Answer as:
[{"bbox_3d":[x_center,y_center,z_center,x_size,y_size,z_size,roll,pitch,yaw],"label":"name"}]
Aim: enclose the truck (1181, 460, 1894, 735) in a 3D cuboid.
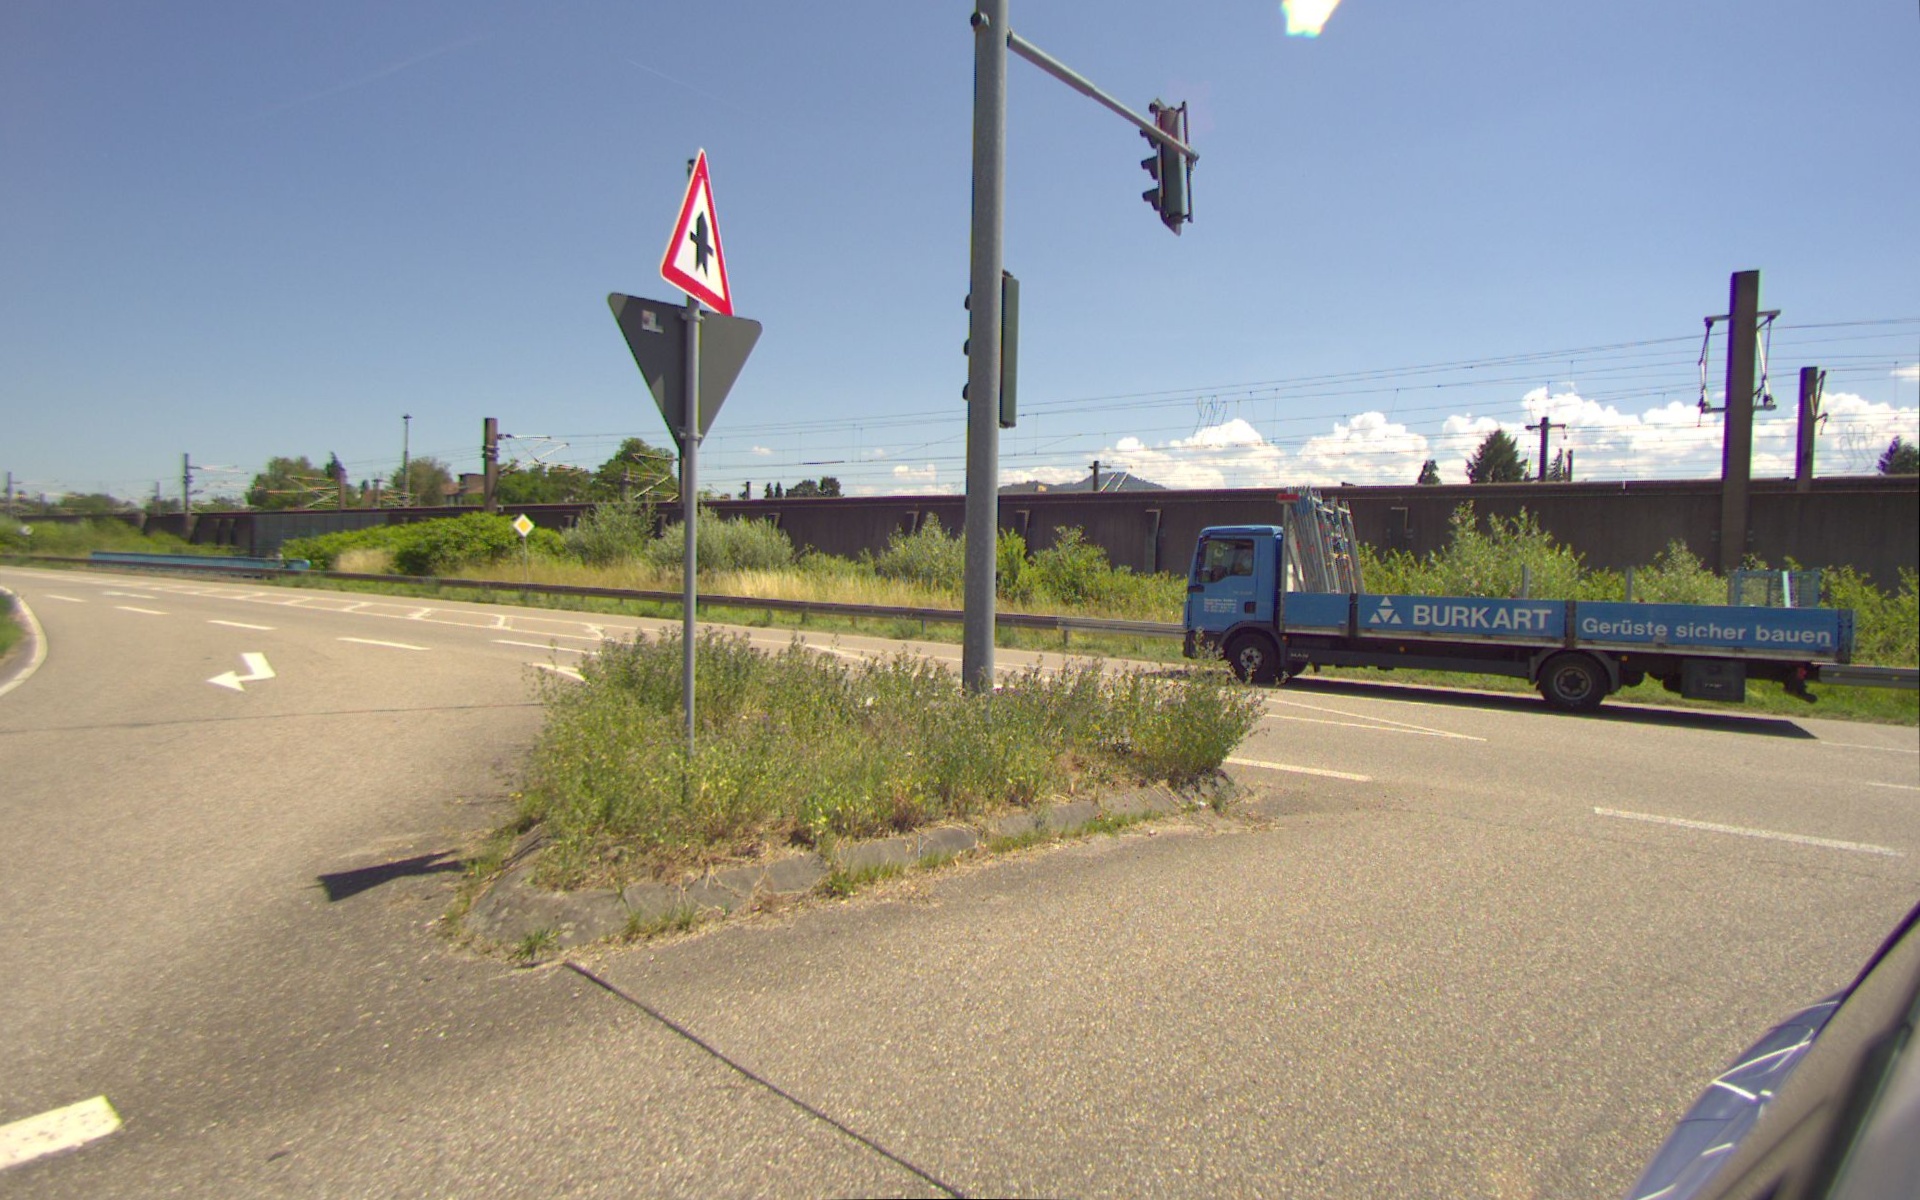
[{"bbox_3d":[8.023,-0.255,15.380,8.570,3.189,2.886,4,1,35],"label":"truck"}]
